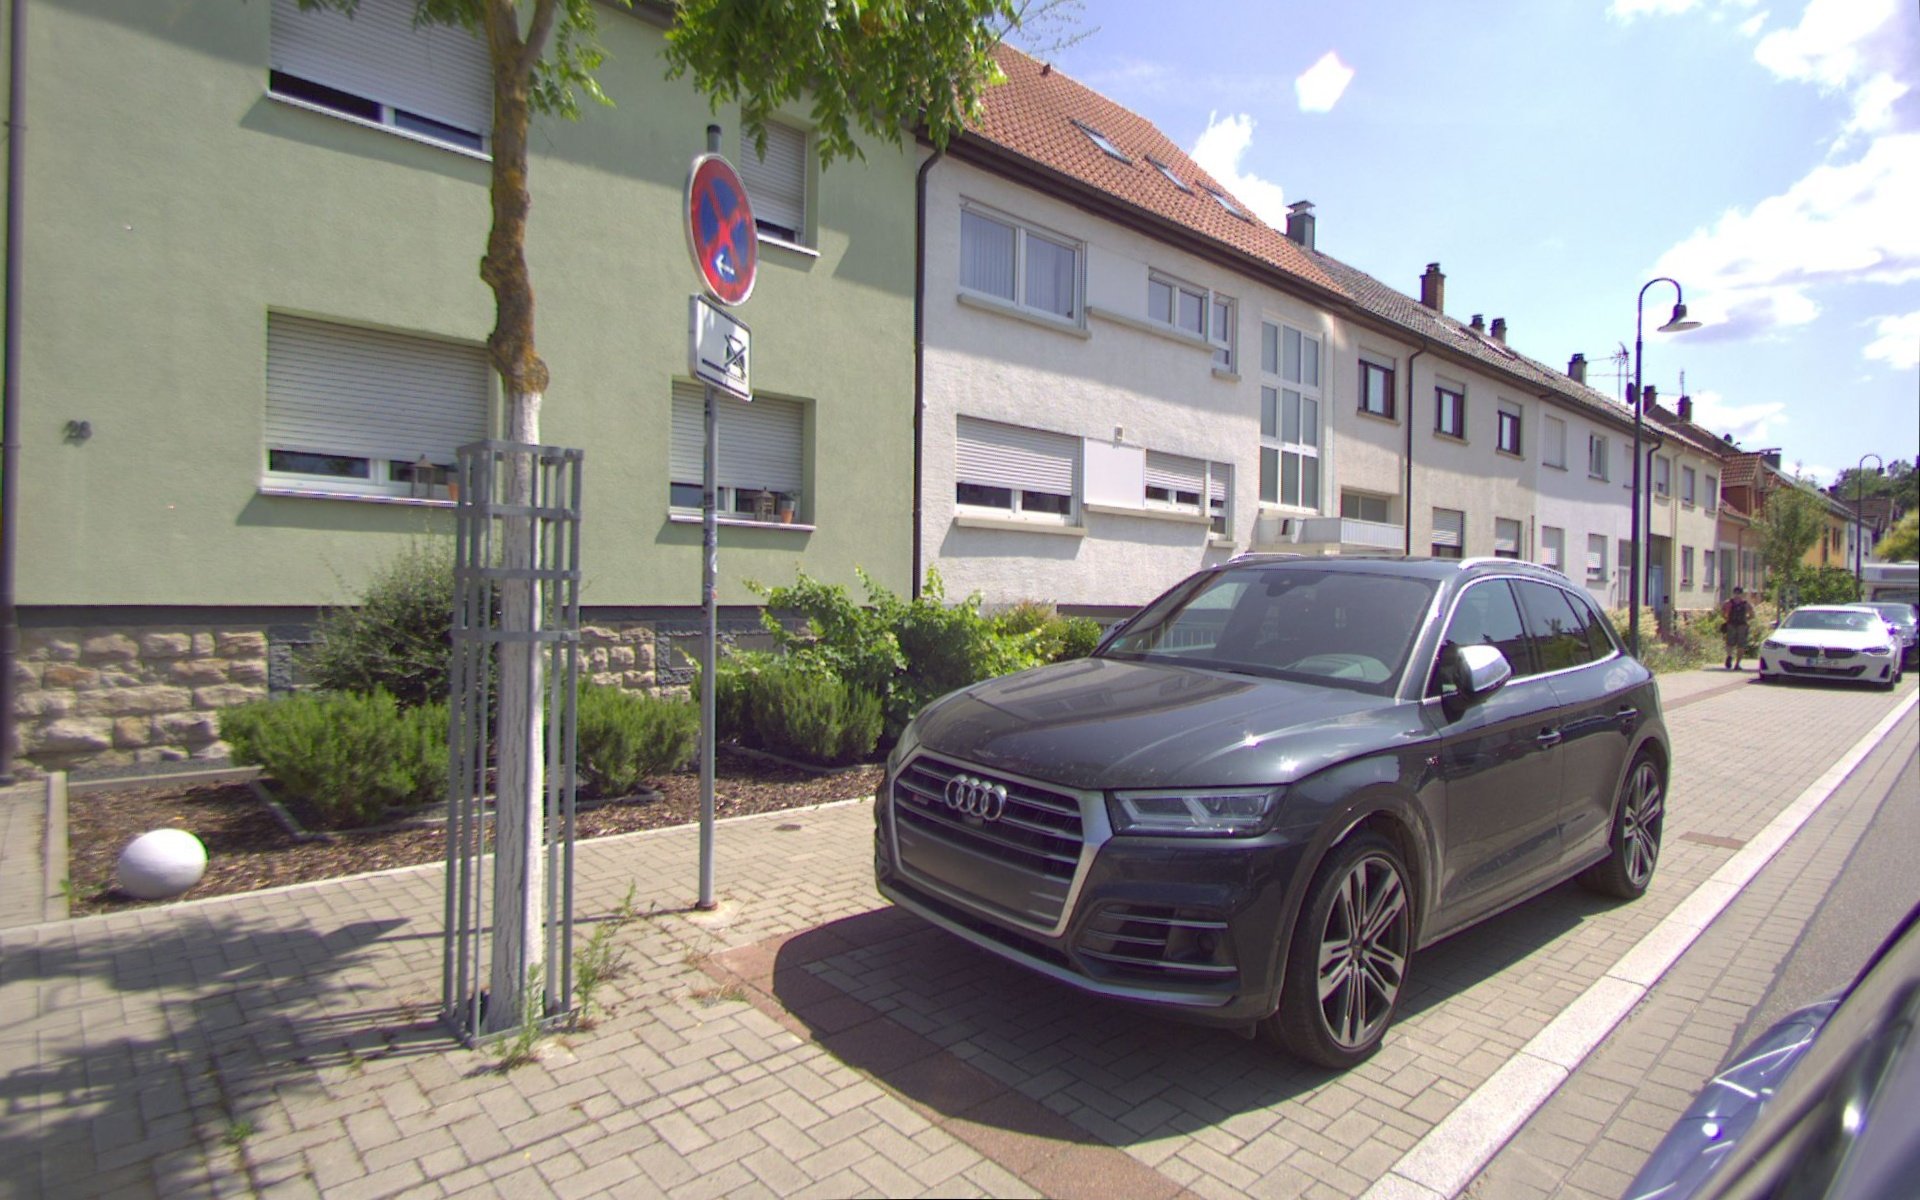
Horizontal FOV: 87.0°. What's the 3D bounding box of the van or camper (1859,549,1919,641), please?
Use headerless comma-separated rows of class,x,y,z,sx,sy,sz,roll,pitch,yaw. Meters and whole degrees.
van or camper,31.951,-0.151,33.705,5.693,2.845,2.476,0,2,-44

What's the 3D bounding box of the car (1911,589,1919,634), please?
car,39.491,0.460,40.504,4.252,1.726,1.769,0,1,-43

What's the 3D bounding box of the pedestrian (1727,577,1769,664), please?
pedestrian,16.465,0.407,21.140,0.661,1.770,0.558,0,2,-42

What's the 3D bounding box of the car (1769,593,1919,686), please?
car,16.309,0.628,18.561,1.833,1.484,4.446,1,1,45

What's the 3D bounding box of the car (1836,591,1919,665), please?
car,21.542,0.593,23.221,3.939,1.549,1.769,0,1,-43

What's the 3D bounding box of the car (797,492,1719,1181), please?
car,1.662,0.536,4.561,4.368,1.655,1.868,1,3,-41
